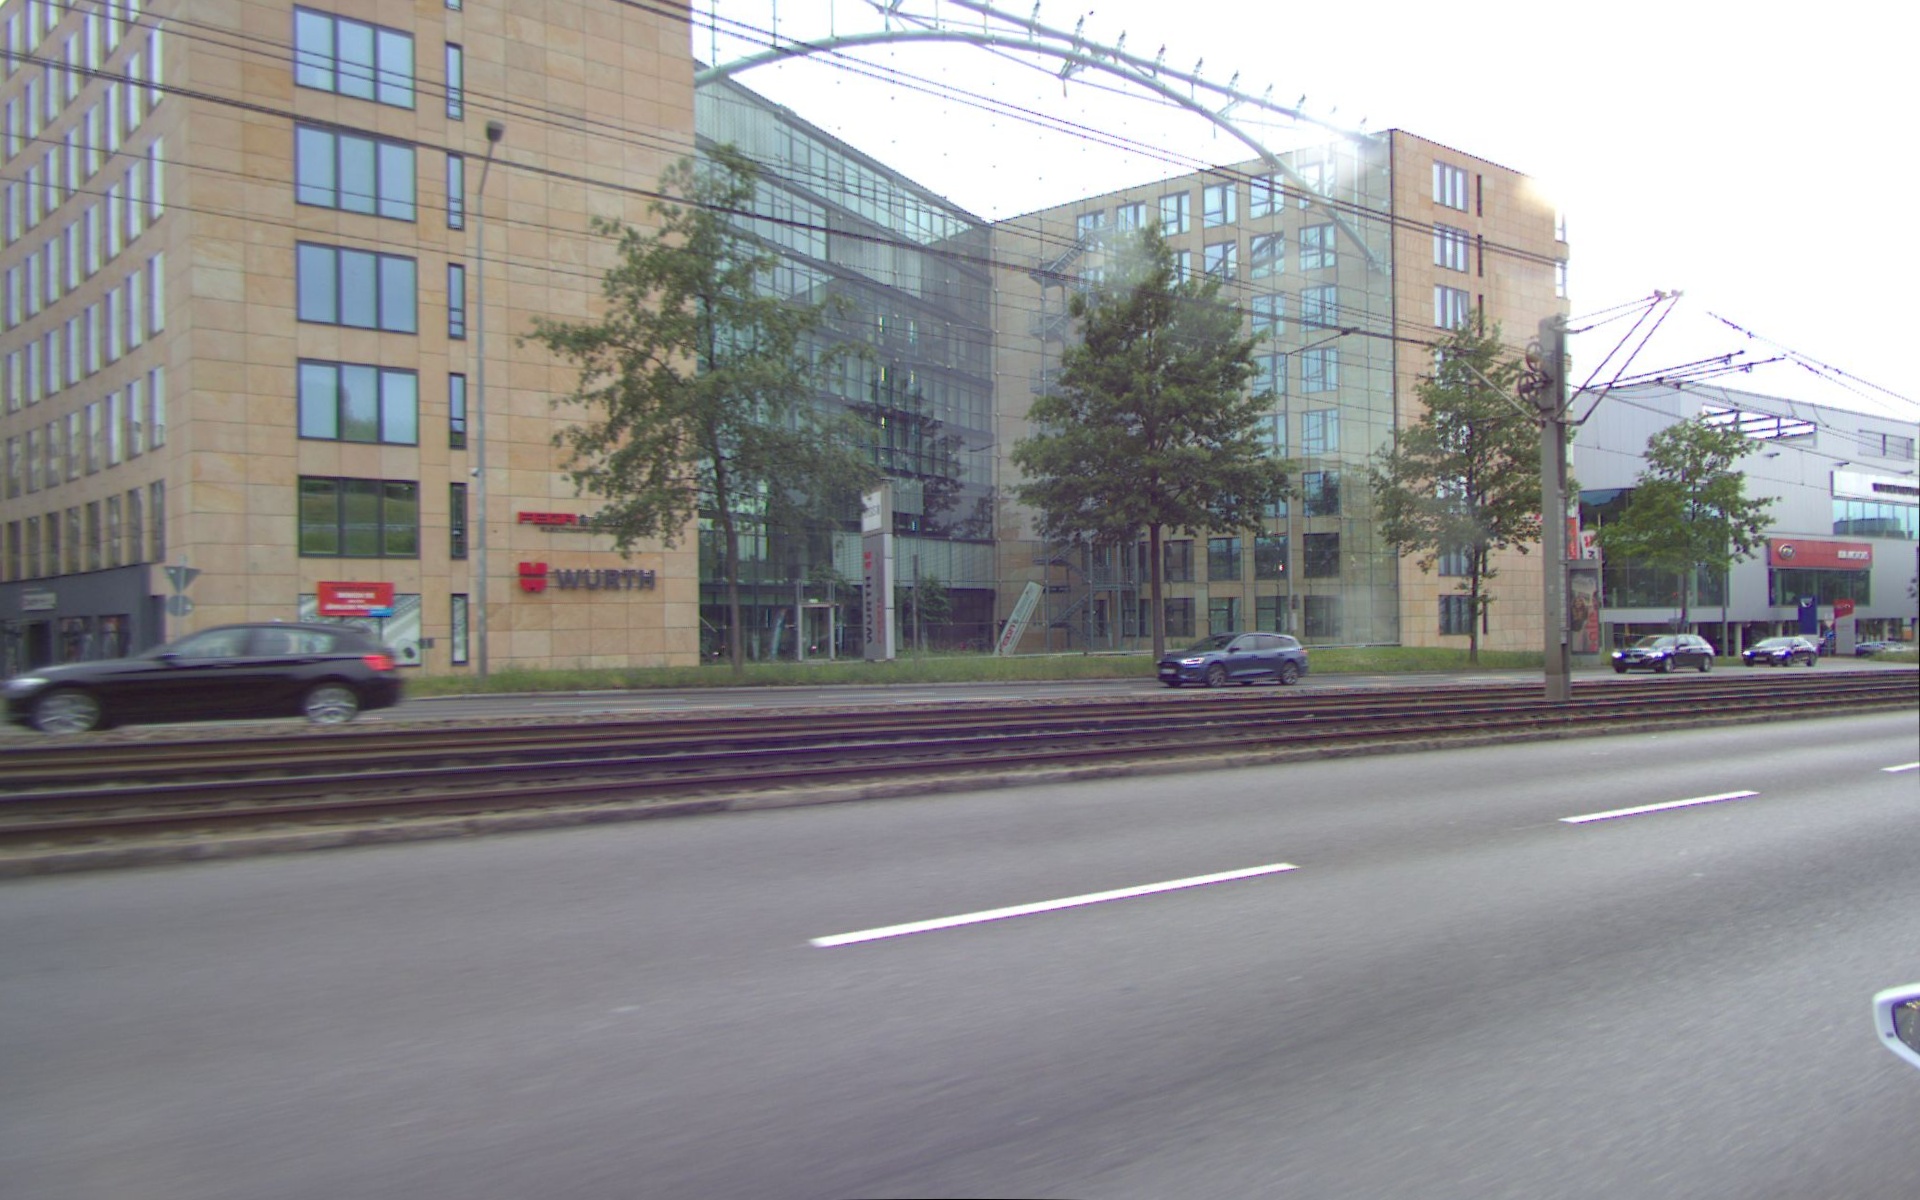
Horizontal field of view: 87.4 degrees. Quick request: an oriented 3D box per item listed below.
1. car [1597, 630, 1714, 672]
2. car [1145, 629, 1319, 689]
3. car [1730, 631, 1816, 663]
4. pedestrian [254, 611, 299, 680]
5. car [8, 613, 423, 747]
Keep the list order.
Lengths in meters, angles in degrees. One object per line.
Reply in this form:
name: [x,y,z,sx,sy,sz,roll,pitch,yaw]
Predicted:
car: [26.409,1.921,38.098,4.598,1.505,1.833,1,-4,-30]
car: [7.388,1.571,27.183,4.598,1.505,1.833,1,-4,-30]
car: [40.388,2.318,49.903,4.378,1.505,1.833,1,-4,-30]
pedestrian: [-16.897,1.129,24.857,0.823,1.653,0.638,3,-1,-33]
car: [-9.555,1.033,13.384,4.148,1.521,1.765,3,-1,-28]
